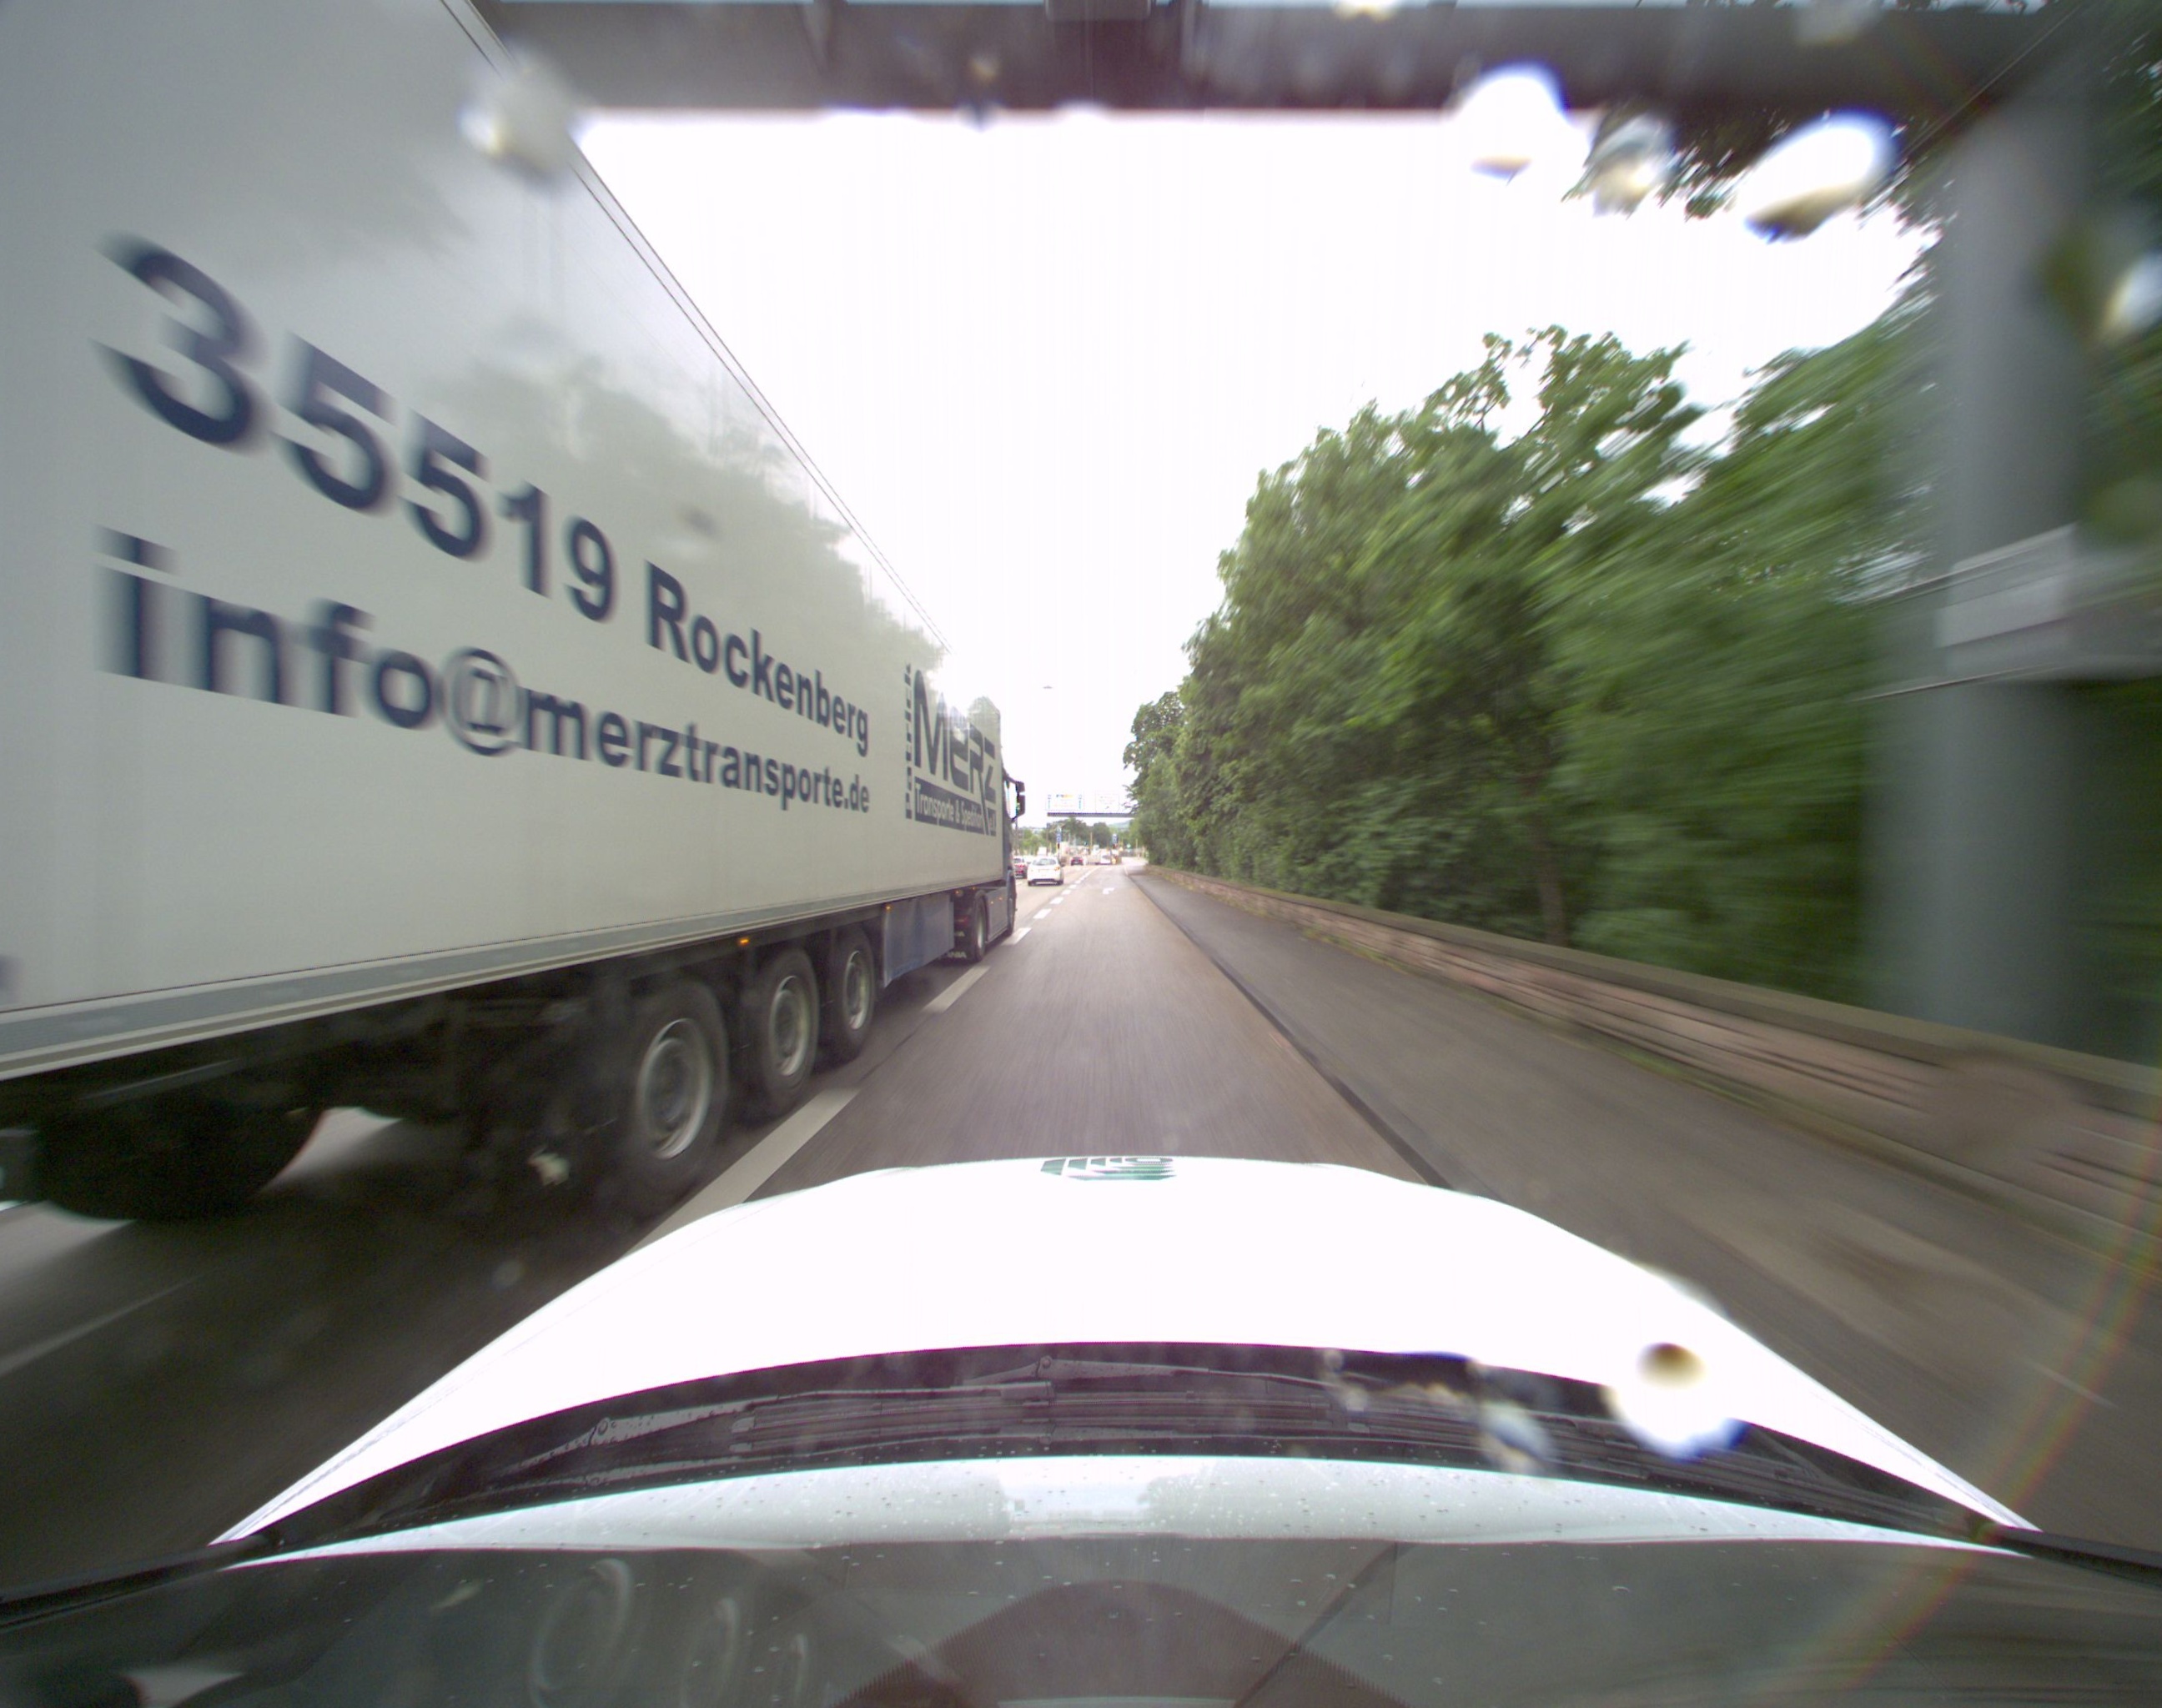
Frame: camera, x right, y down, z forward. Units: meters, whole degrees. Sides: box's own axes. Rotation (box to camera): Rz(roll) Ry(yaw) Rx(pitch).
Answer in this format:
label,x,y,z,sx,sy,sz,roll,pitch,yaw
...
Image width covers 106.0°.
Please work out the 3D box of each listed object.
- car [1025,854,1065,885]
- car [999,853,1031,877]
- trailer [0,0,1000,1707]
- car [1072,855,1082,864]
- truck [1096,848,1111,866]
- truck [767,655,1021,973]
label,x,y,z,sx,sy,sz,roll,pitch,yaw
car,-1.821,0.767,42.346,1.803,1.423,4.002,0,1,2
car,-4.363,0.676,54.437,1.675,1.446,4.002,0,1,2
trailer,-2.928,-0.515,6.921,2.752,4.253,13.187,-1,0,2
car,-0.656,0.868,122.945,1.421,1.354,2.961,0,0,2
truck,5.395,0.745,193.579,3.505,4.040,8.077,0,-1,2
truck,-2.739,-0.542,14.031,2.746,4.205,6.307,-1,0,1
